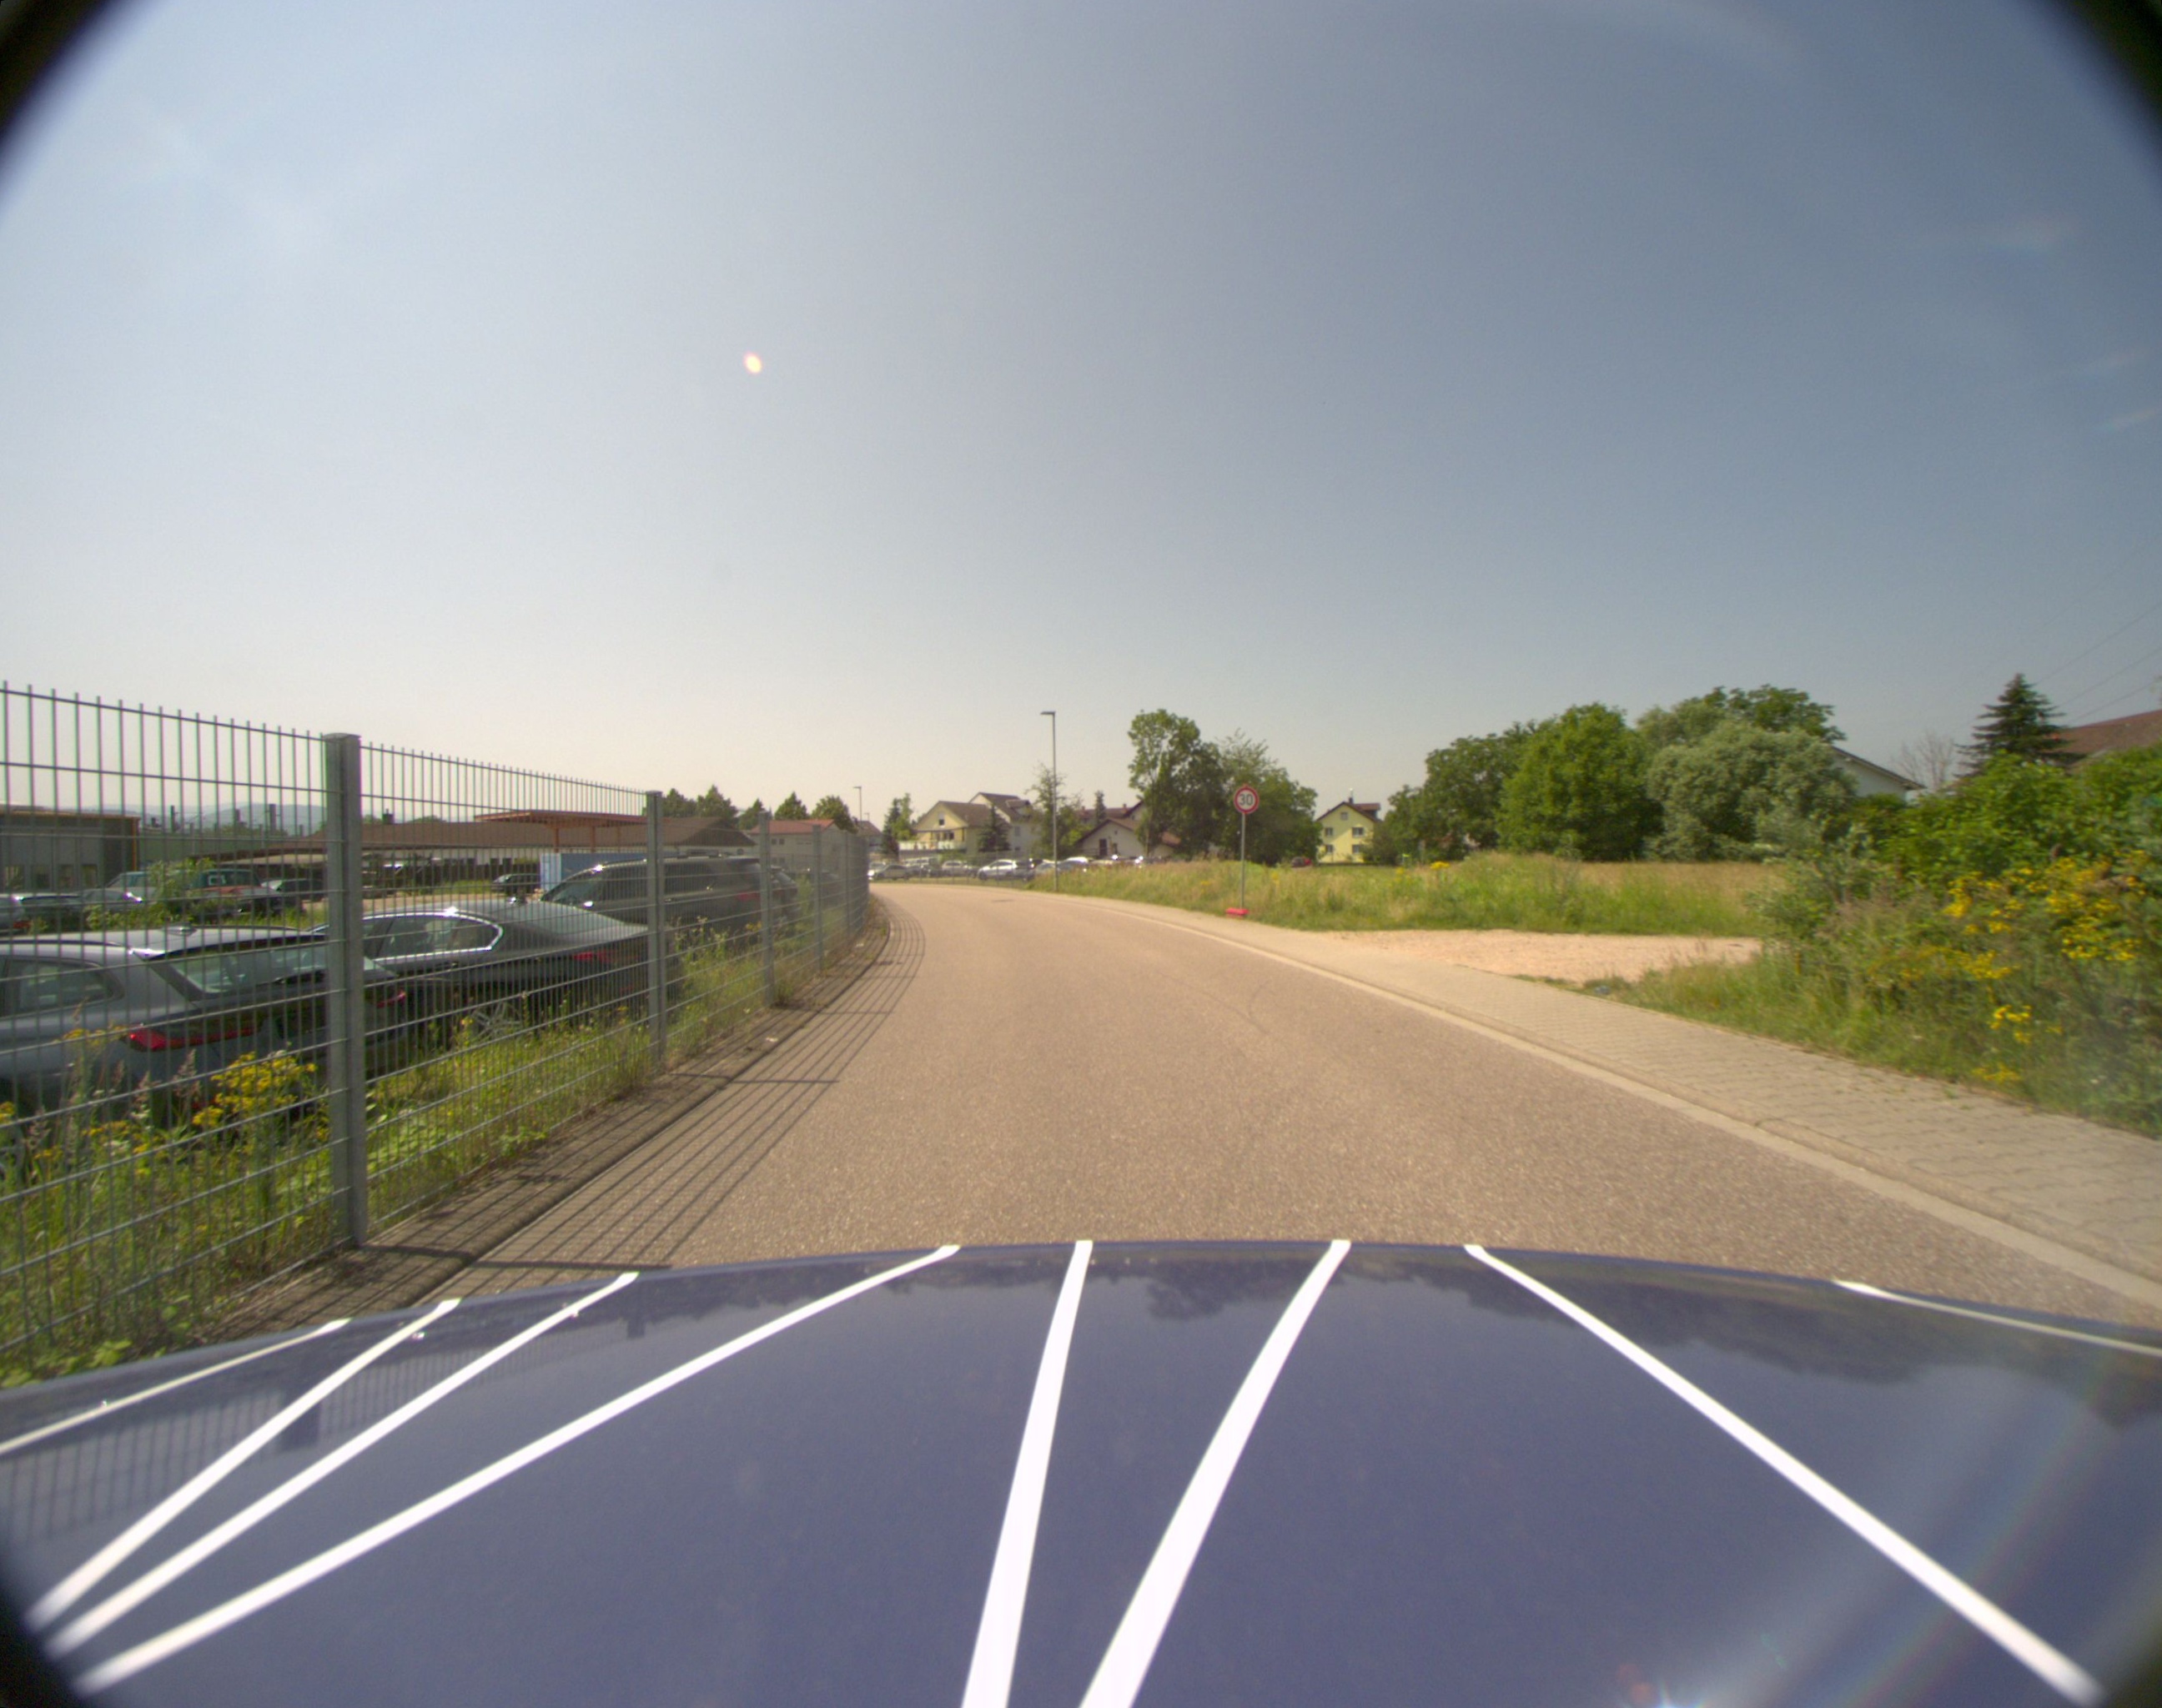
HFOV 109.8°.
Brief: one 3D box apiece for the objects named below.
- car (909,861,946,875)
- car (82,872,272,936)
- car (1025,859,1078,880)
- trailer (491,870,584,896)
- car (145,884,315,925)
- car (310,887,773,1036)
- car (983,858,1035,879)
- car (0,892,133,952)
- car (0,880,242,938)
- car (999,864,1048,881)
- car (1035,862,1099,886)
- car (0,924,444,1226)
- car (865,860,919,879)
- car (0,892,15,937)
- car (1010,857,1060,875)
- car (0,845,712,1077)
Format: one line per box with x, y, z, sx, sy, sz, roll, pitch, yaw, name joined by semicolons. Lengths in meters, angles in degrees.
-16.470;1.529;81.475;3.673;1.455;1.824;-1;1;35;car
-29.853;1.621;25.172;4.385;1.970;1.843;-1;0;5;car
-2.095;1.064;53.325;3.452;1.411;1.585;-1;0;34;car
-35.447;1.875;49.689;1.765;1.556;4.628;-3;-2;32;trailer
-25.388;1.488;22.739;3.371;1.102;1.672;-1;0;5;car
-6.503;1.262;9.551;4.476;1.373;1.723;-3;0;-1;car
-5.259;1.058;55.344;3.636;1.481;1.585;-1;0;34;car
-24.844;1.540;17.350;4.385;1.198;1.843;-1;0;5;car
-25.145;1.417;19.970;4.385;1.337;1.843;-1;0;5;car
-4.562;1.479;60.382;3.636;1.239;1.585;-1;0;34;car
-0.903;1.175;45.509;1.585;1.326;4.393;-1;0;-35;car
-6.930;1.235;4.635;4.482;1.373;1.722;-1;0;-4;car
-16.908;1.351;68.077;4.398;1.561;1.822;-2;1;-24;car
-35.425;1.884;22.894;4.385;1.369;1.843;-1;0;5;car
-4.048;1.033;66.657;3.989;1.489;2.004;-1;0;34;car
-6.271;0.837;7.142;4.701;1.758;1.741;-1;0;-9;car
